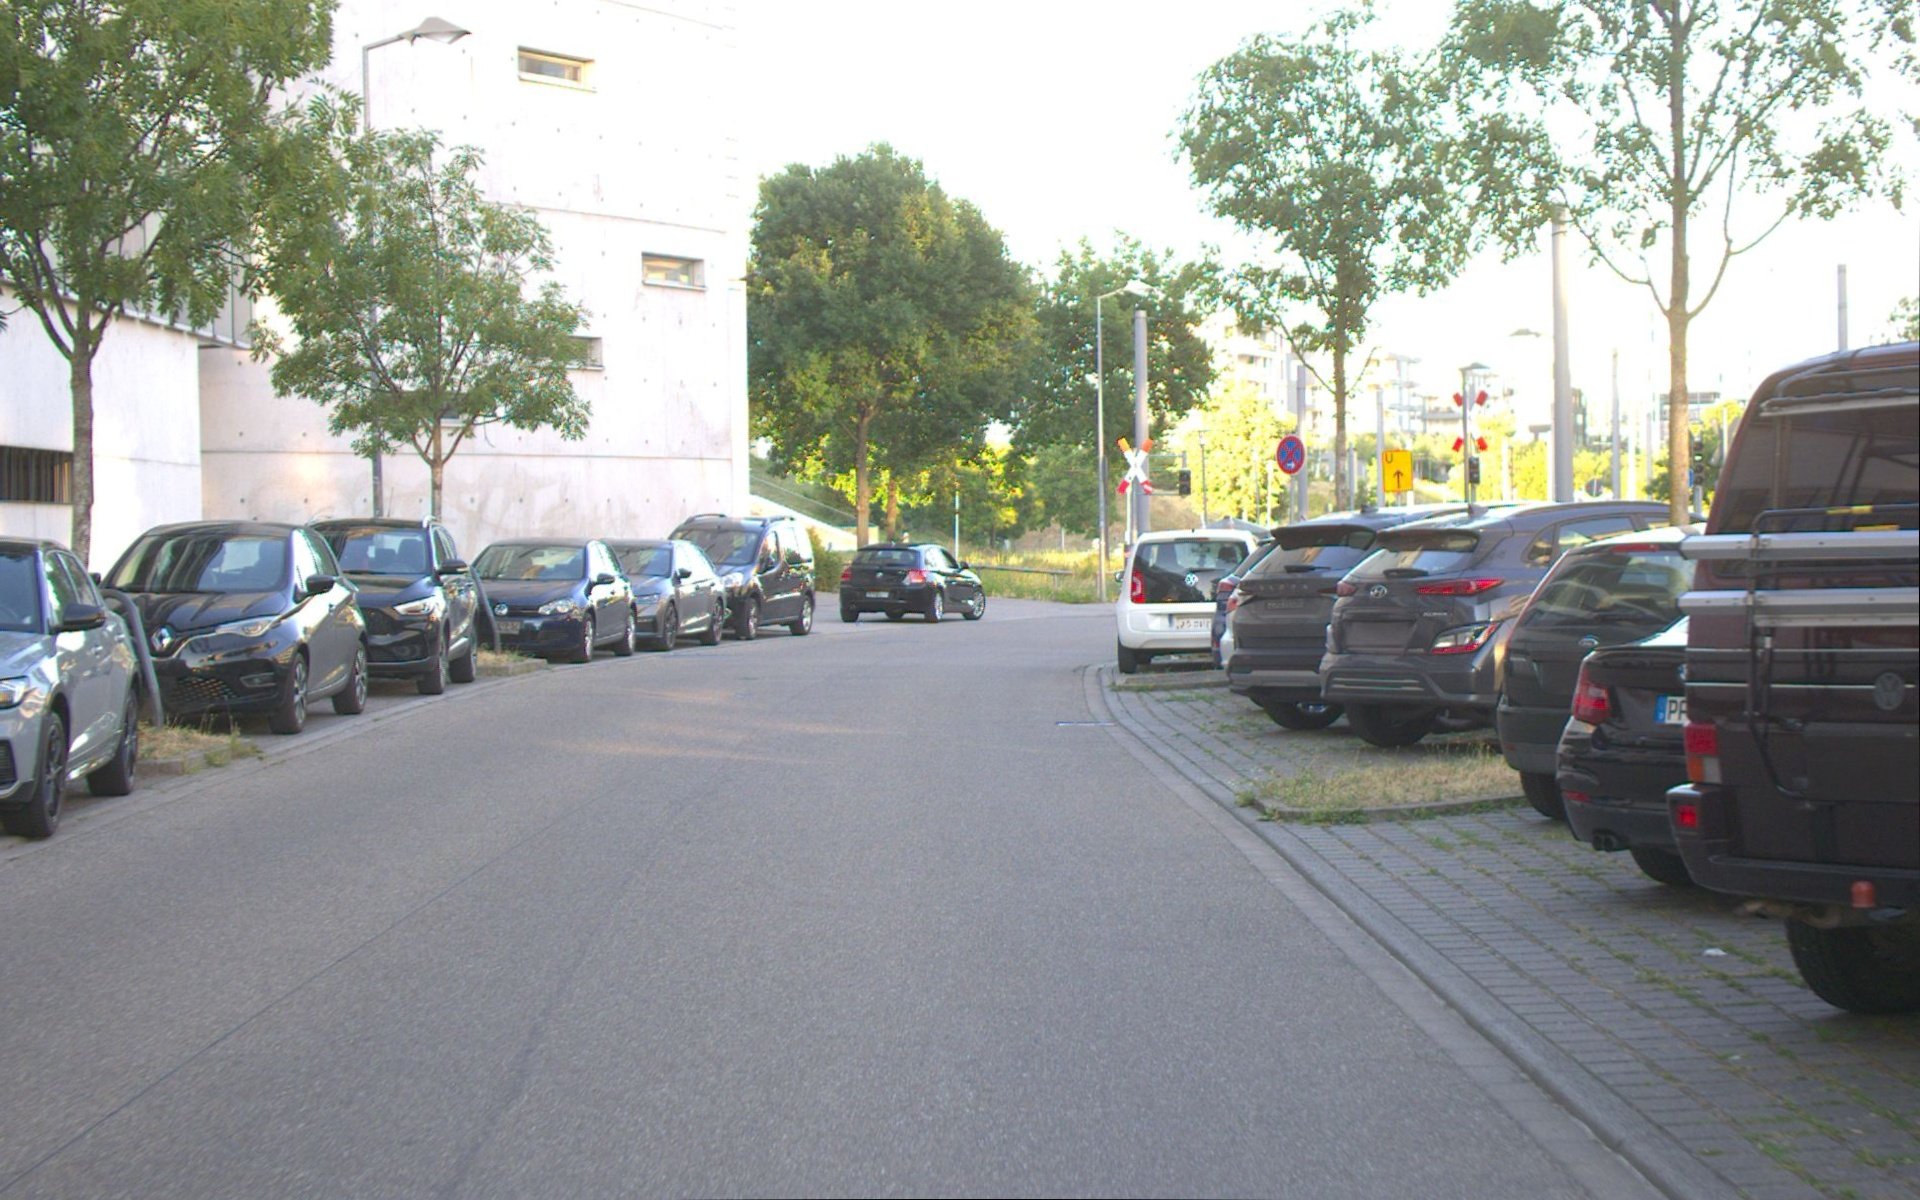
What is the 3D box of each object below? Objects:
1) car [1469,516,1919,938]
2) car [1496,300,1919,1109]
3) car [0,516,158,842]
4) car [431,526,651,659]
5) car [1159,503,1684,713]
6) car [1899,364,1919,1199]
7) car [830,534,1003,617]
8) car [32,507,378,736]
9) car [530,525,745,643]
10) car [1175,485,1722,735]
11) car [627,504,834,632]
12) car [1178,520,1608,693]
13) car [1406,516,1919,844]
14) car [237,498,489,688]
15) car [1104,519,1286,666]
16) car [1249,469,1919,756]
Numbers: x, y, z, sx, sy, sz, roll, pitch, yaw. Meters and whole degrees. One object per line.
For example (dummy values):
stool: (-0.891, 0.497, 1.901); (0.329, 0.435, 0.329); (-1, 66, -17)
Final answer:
car: (3.997, 0.421, 13.831); (3.767, 1.460, 1.638); (0, 2, -36)
car: (3.979, 0.233, 10.388); (4.589, 2.028, 1.871); (0, 2, -34)
car: (-5.253, 0.303, 17.484); (1.755, 1.434, 3.902); (1, 2, -5)
car: (-4.986, -0.136, 41.462); (1.723, 1.452, 4.271); (1, 2, 5)
car: (3.866, 0.030, 28.682); (3.920, 1.504, 1.957); (-3, 2, -30)
car: (4.311, 0.424, 7.375); (4.589, 1.743, 1.871); (0, 2, -34)
car: (-0.733, -0.475, 62.121); (1.945, 1.378, 4.396); (2, 2, 15)
car: (-5.647, 0.097, 26.170); (1.756, 1.555, 4.043); (1, 2, 0)
car: (-4.303, -0.257, 46.579); (1.723, 1.452, 4.692); (2, 2, 9)
car: (3.648, 0.039, 25.522); (3.767, 1.720, 1.763); (0, 2, -33)
car: (-3.397, -0.520, 51.683); (1.758, 1.792, 4.460); (2, 2, 14)
car: (4.063, 0.037, 32.129); (3.742, 1.504, 1.688); (0, 2, -32)
car: (4.219, 0.327, 17.118); (3.767, 1.437, 1.763); (0, 2, -36)
car: (-5.562, -0.119, 32.445); (1.756, 1.648, 3.949); (1, 2, -1)
car: (2.568, -0.116, 36.930); (1.723, 1.462, 3.552); (-1, 1, 7)
car: (4.156, 0.047, 22.790); (3.973, 1.634, 1.973); (-3, 1, -28)
